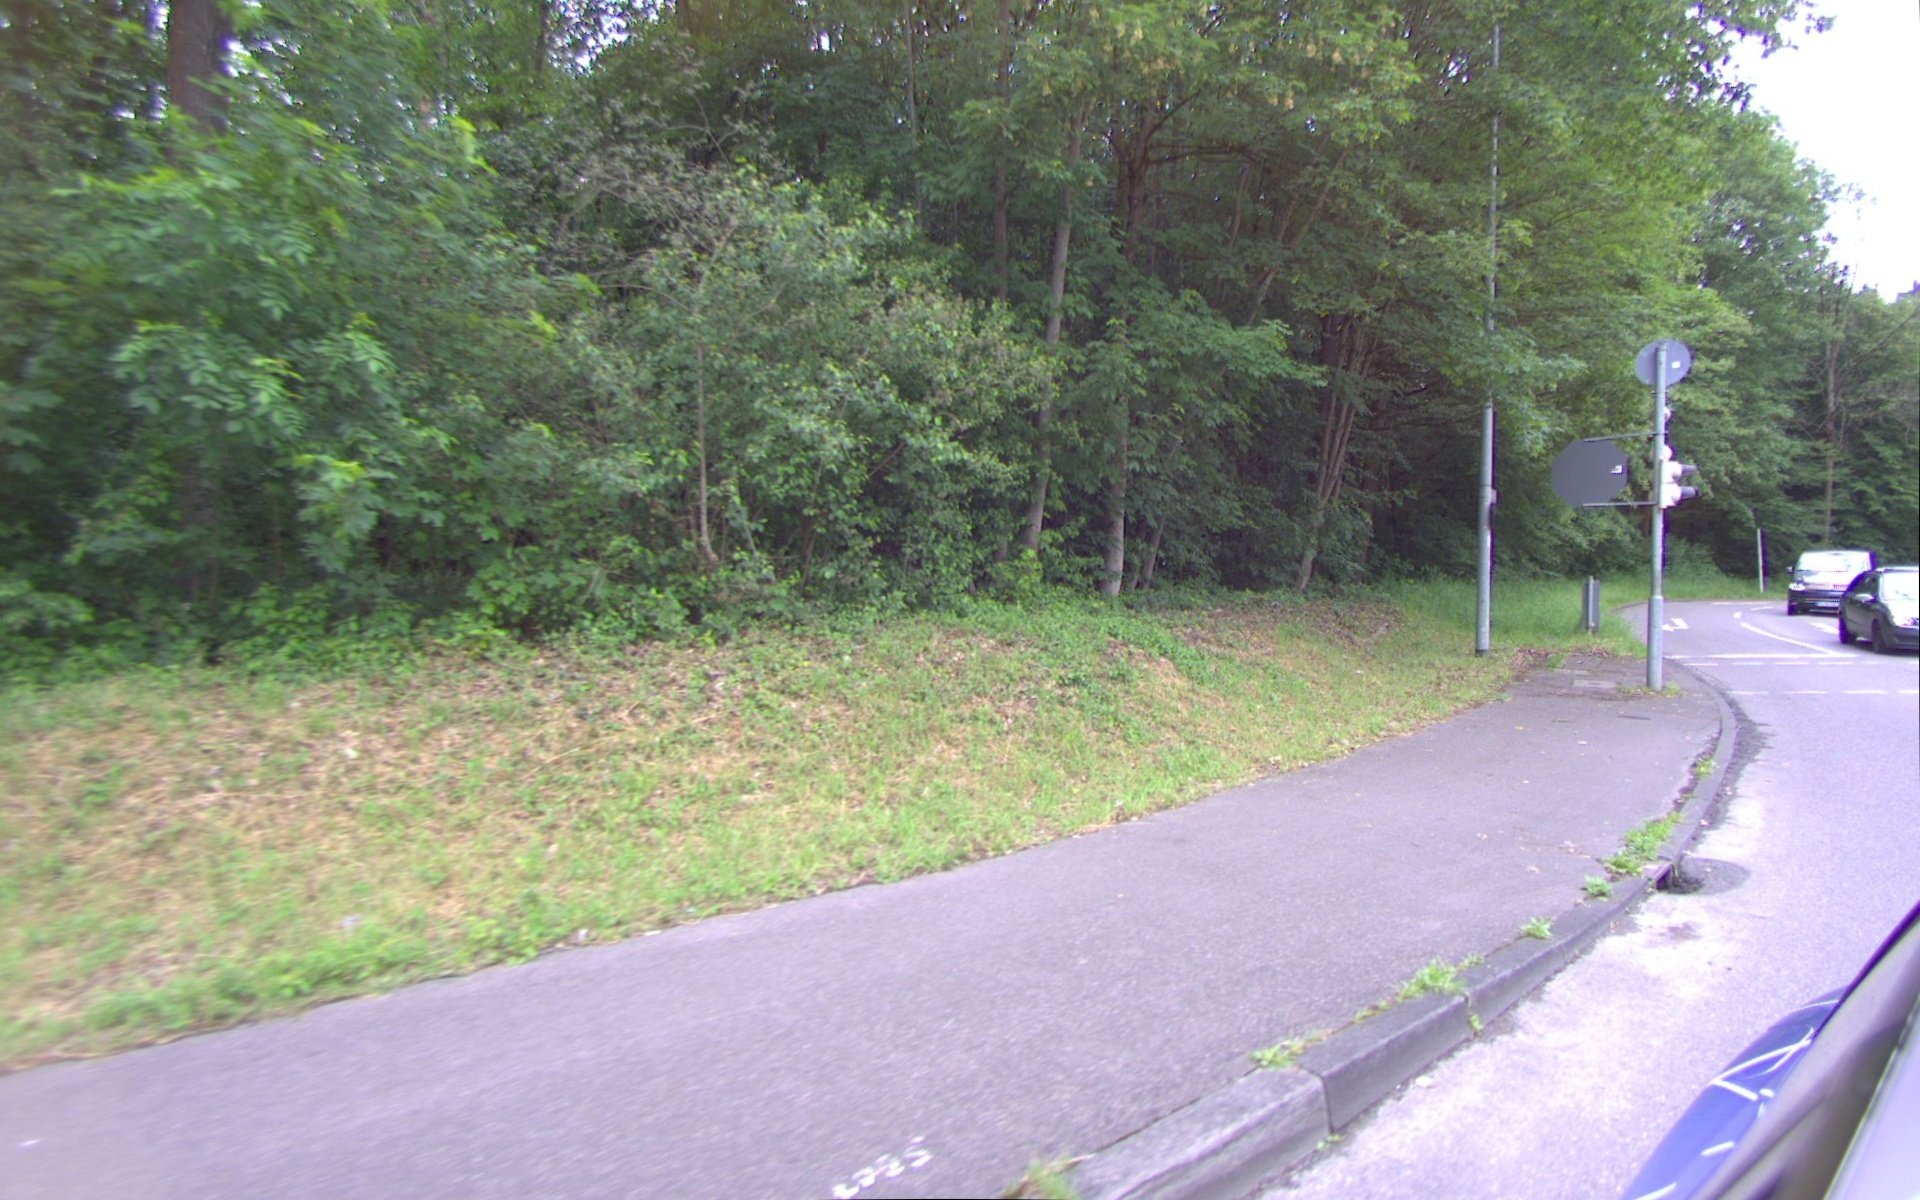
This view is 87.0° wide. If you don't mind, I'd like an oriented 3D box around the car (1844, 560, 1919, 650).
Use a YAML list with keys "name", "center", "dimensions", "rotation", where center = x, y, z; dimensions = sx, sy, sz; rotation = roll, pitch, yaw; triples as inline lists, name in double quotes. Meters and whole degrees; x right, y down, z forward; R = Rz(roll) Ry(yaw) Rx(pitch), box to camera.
- name: "car"
  center: [17.706, 0.038, 18.403]
  dimensions: [1.792, 1.497, 4.418]
  rotation: [3, 3, 33]

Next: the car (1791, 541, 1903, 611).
- name: "car"
  center: [26.049, -0.752, 29.670]
  dimensions: [4.456, 1.895, 1.988]
  rotation: [-2, 4, -43]

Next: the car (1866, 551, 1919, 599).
- name: "car"
  center: [35.441, -0.947, 37.332]
  dimensions: [3.910, 1.694, 1.797]
  rotation: [-1, 2, -29]
